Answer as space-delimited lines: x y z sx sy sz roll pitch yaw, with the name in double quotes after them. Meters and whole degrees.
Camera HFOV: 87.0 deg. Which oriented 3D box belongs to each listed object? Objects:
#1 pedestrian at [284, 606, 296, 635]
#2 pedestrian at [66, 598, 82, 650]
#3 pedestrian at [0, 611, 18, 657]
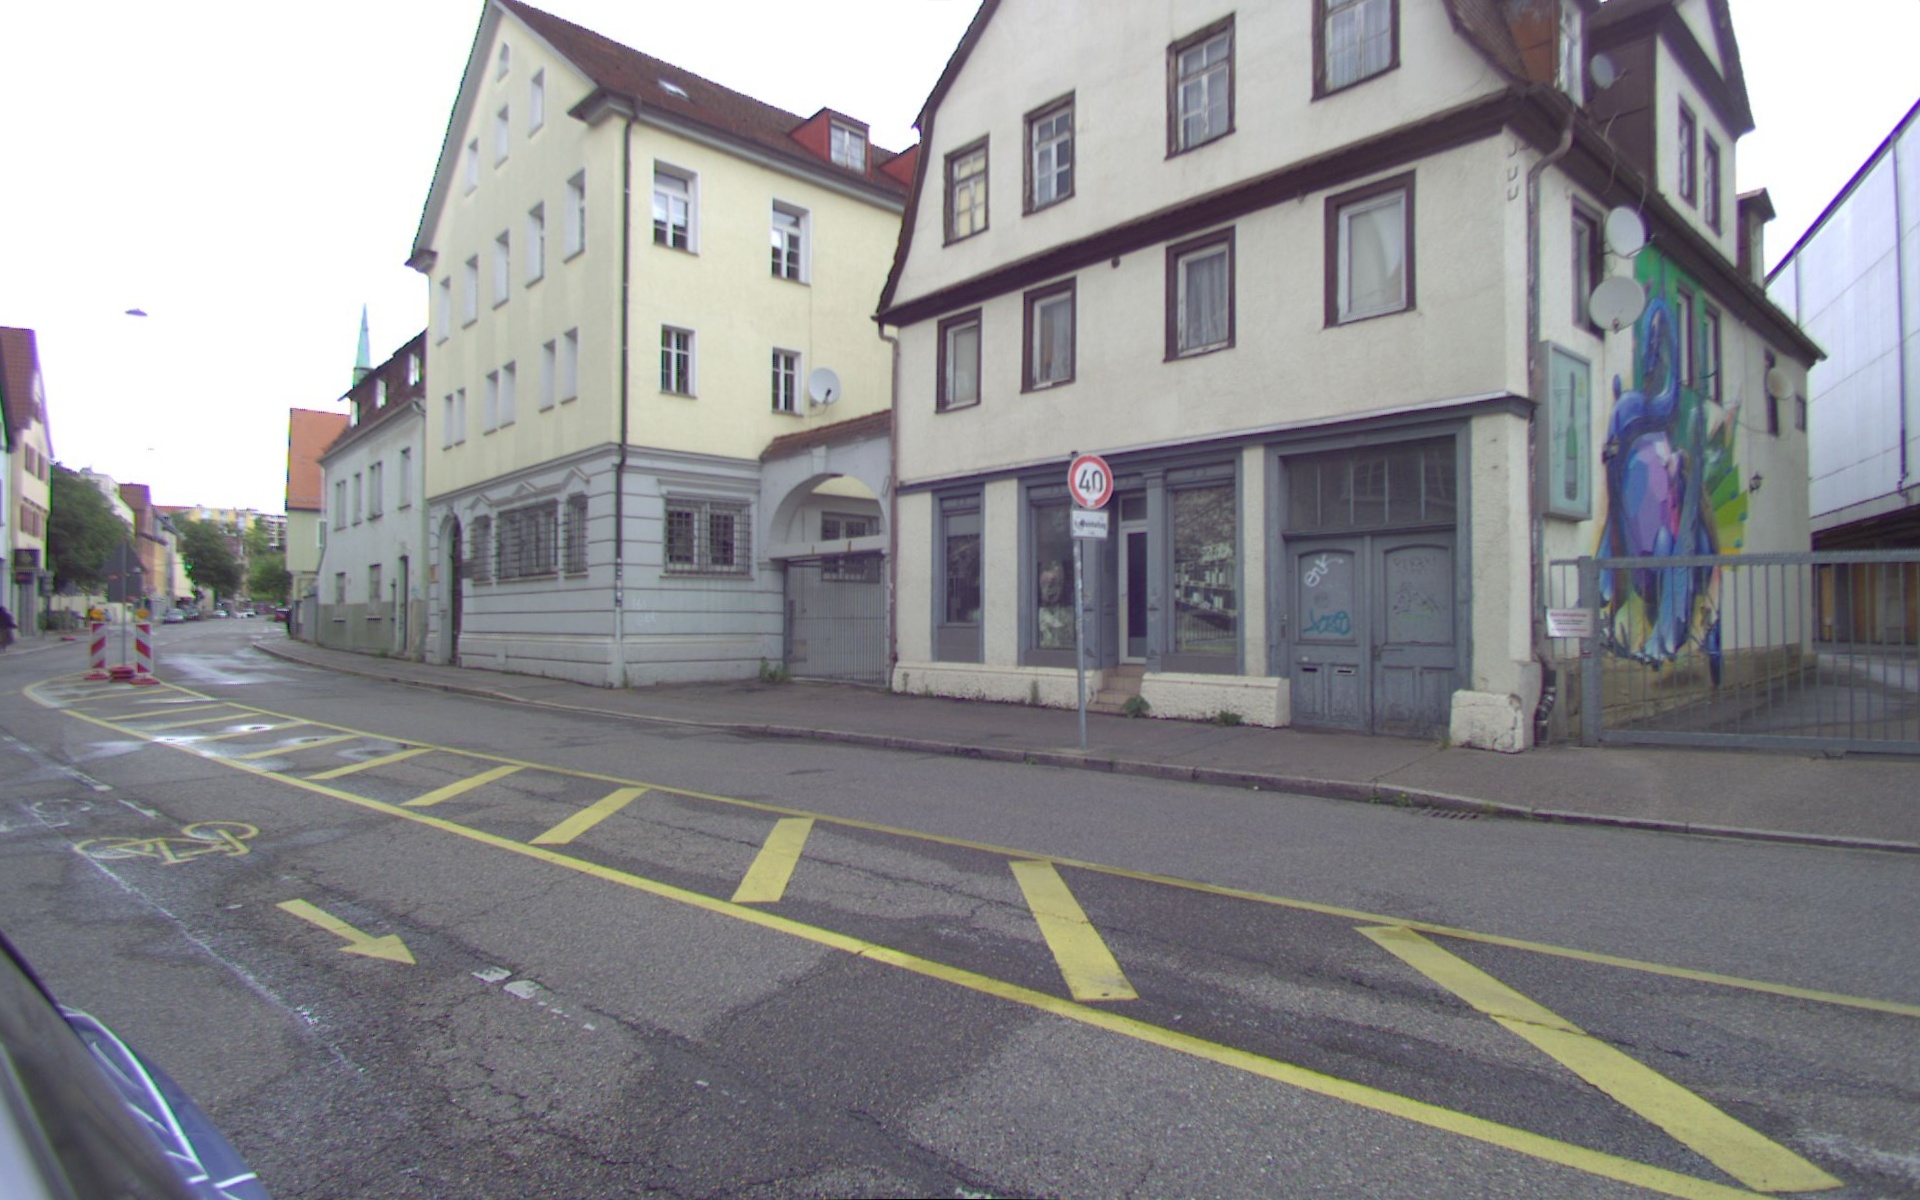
-42.195 1.304 63.748 0.583 1.793 0.506 1 -2 -30 "pedestrian"
-43.656 1.179 49.866 0.487 2.547 0.747 1 -2 -38 "pedestrian"
-34.074 1.208 36.037 0.714 1.626 0.650 0 -2 -36 "pedestrian"
